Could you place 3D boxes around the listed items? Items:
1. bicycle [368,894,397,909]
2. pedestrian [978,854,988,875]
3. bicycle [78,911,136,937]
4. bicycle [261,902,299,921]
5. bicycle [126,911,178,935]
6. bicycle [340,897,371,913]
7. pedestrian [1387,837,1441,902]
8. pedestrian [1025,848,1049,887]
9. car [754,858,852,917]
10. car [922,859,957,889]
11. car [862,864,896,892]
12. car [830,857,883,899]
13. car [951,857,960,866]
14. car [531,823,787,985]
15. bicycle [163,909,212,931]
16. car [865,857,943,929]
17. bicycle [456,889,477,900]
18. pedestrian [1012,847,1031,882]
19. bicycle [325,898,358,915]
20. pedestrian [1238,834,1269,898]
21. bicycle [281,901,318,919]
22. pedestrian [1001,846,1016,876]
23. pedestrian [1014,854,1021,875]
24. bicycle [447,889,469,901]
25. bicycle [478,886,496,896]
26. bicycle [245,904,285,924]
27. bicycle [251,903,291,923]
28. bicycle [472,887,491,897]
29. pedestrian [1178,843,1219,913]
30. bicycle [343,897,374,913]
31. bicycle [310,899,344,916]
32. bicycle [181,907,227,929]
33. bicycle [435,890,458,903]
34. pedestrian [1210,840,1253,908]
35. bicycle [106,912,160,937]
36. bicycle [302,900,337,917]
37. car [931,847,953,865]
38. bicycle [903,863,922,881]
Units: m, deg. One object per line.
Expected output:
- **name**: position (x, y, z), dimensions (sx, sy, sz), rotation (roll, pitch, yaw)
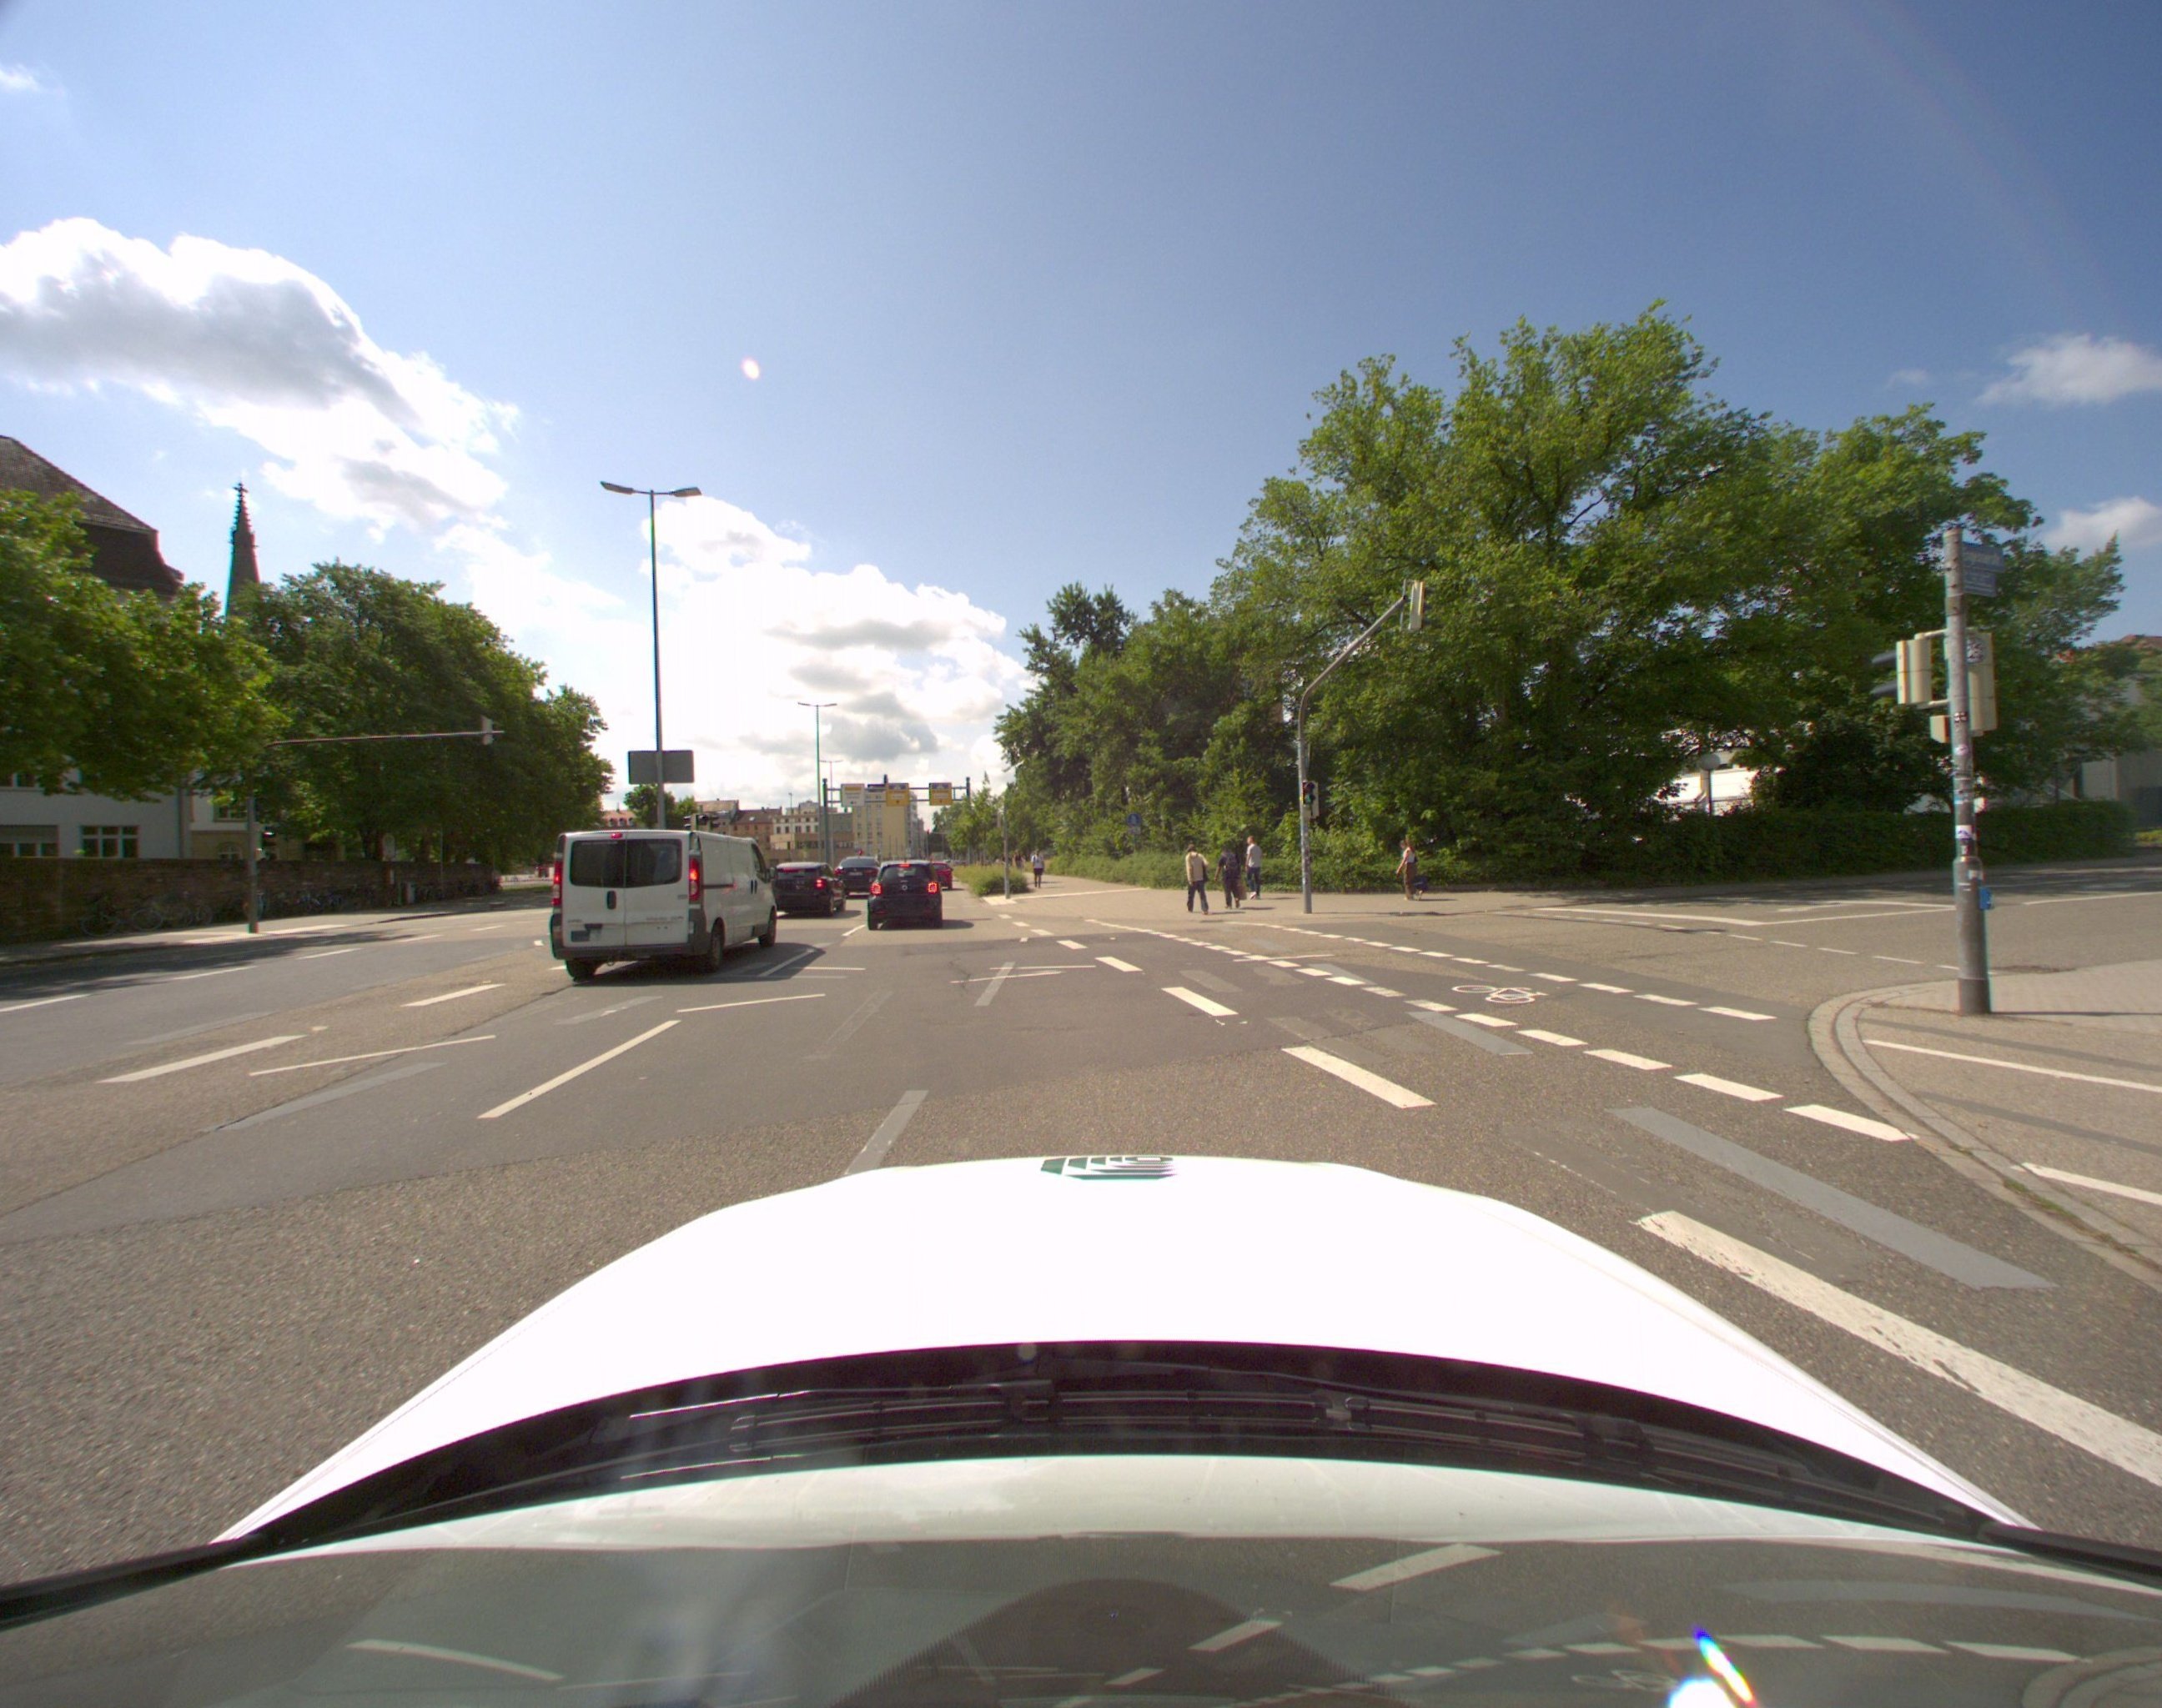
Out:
- **bicycle**: position (-34.440, 2.330, 40.132), dimensions (0.403, 0.682, 1.014), rotation (-1, -1, 37)
- **pedestrian**: position (-9.703, 1.032, 80.422), dimensions (0.839, 1.969, 0.857), rotation (-2, 0, -14)
- **bicycle**: position (-28.190, 2.030, 23.595), dimensions (1.012, 0.682, 0.404), rotation (0, -1, -40)
- **bicycle**: position (-31.194, 2.248, 31.713), dimensions (0.403, 0.682, 1.014), rotation (-1, -1, 37)
- **bicycle**: position (-29.032, 2.144, 25.451), dimensions (1.012, 0.682, 0.404), rotation (0, -1, -40)
- **bicycle**: position (-33.065, 2.339, 37.129), dimensions (0.403, 0.682, 1.014), rotation (-1, -1, 37)
- **pedestrian**: position (8.852, 0.399, 21.668), dimensions (0.862, 1.626, 1.008), rotation (-4, 2, -40)
- **pedestrian**: position (-1.940, 0.596, 36.096), dimensions (0.852, 1.700, 0.927), rotation (-3, 0, -12)
- **car**: position (-8.079, 0.936, 24.145), dimensions (2.018, 1.530, 4.869), rotation (-1, -1, -10)
- **car**: position (-7.119, 0.945, 40.755), dimensions (1.612, 1.411, 3.503), rotation (0, 0, -12)
- **car**: position (-10.774, 1.251, 43.606), dimensions (1.612, 1.325, 3.503), rotation (-1, 0, -12)
- **car**: position (-9.299, 0.949, 34.020), dimensions (1.828, 1.601, 4.375), rotation (-1, 0, -12)
- **car**: position (-26.782, 1.618, 173.909), dimensions (1.943, 1.963, 3.939), rotation (0, -1, -8)
- **car**: position (-6.182, 0.625, 12.750), dimensions (2.006, 1.955, 5.177), rotation (-1, 0, -9)
- **bicycle**: position (-29.383, 2.165, 26.794), dimensions (1.012, 0.682, 0.404), rotation (0, -1, -40)
- **car**: position (-4.185, 0.850, 19.362), dimensions (1.612, 1.485, 3.503), rotation (-2, 0, -12)
- **bicycle**: position (-40.209, 2.621, 53.307), dimensions (0.403, 0.682, 1.014), rotation (-1, -1, 37)
- **pedestrian**: position (-3.260, 0.559, 44.753), dimensions (0.839, 1.868, 1.014), rotation (-2, 0, -14)
- **bicycle**: position (-32.612, 2.319, 35.922), dimensions (0.403, 0.682, 1.014), rotation (-1, -1, 37)
- **pedestrian**: position (5.000, 0.342, 23.646), dimensions (0.669, 1.821, 0.702), rotation (-1, 0, -4)
- **bicycle**: position (-31.963, 2.277, 33.317), dimensions (0.403, 0.682, 1.014), rotation (-1, -1, 37)
- **pedestrian**: position (-4.813, 0.480, 54.054), dimensions (0.839, 1.969, 0.857), rotation (-2, 0, -14)
- **pedestrian**: position (-5.948, 0.983, 76.142), dimensions (0.504, 1.890, 0.555), rotation (0, -1, -28)
- **bicycle**: position (-39.305, 2.587, 51.385), dimensions (0.403, 0.682, 1.014), rotation (-1, -1, 37)
- **bicycle**: position (-44.469, 2.762, 61.017), dimensions (0.403, 0.682, 1.014), rotation (-1, -1, 37)
- **bicycle**: position (-30.504, 2.225, 30.440), dimensions (0.403, 0.682, 1.014), rotation (-1, -1, 37)
- **bicycle**: position (-30.857, 2.236, 31.026), dimensions (0.403, 0.682, 1.014), rotation (-1, -1, 37)
- **bicycle**: position (-42.311, 2.696, 57.476), dimensions (0.403, 0.682, 1.014), rotation (-1, -1, 37)
- **pedestrian**: position (2.970, 0.586, 20.680), dimensions (0.793, 1.704, 1.181), rotation (-1, 0, -4)
- **bicycle**: position (-33.507, 2.345, 37.779), dimensions (0.403, 0.682, 1.014), rotation (-1, -1, 37)
- **bicycle**: position (-32.355, 2.303, 34.953), dimensions (0.403, 0.682, 1.014), rotation (-1, -1, 37)
- **bicycle**: position (-29.965, 2.184, 27.842), dimensions (1.012, 0.682, 0.404), rotation (0, -1, -40)
- **bicycle**: position (-37.934, 2.539, 48.683), dimensions (0.403, 0.682, 1.014), rotation (-1, -1, 37)
- **pedestrian**: position (3.913, 0.507, 21.241), dimensions (0.793, 1.704, 1.181), rotation (-1, 0, -4)
- **bicycle**: position (-28.670, 2.130, 24.648), dimensions (1.012, 0.682, 0.404), rotation (0, -1, -40)
- **bicycle**: position (-32.140, 2.293, 34.372), dimensions (0.403, 0.682, 1.014), rotation (-1, -1, 37)
- **car**: position (-11.103, 0.147, 64.941), dimensions (1.612, 1.411, 3.503), rotation (0, 0, -12)
- **bicycle**: position (-19.286, 2.016, 93.298), dimensions (1.996, 2.014, 3.981), rotation (0, -1, -14)
